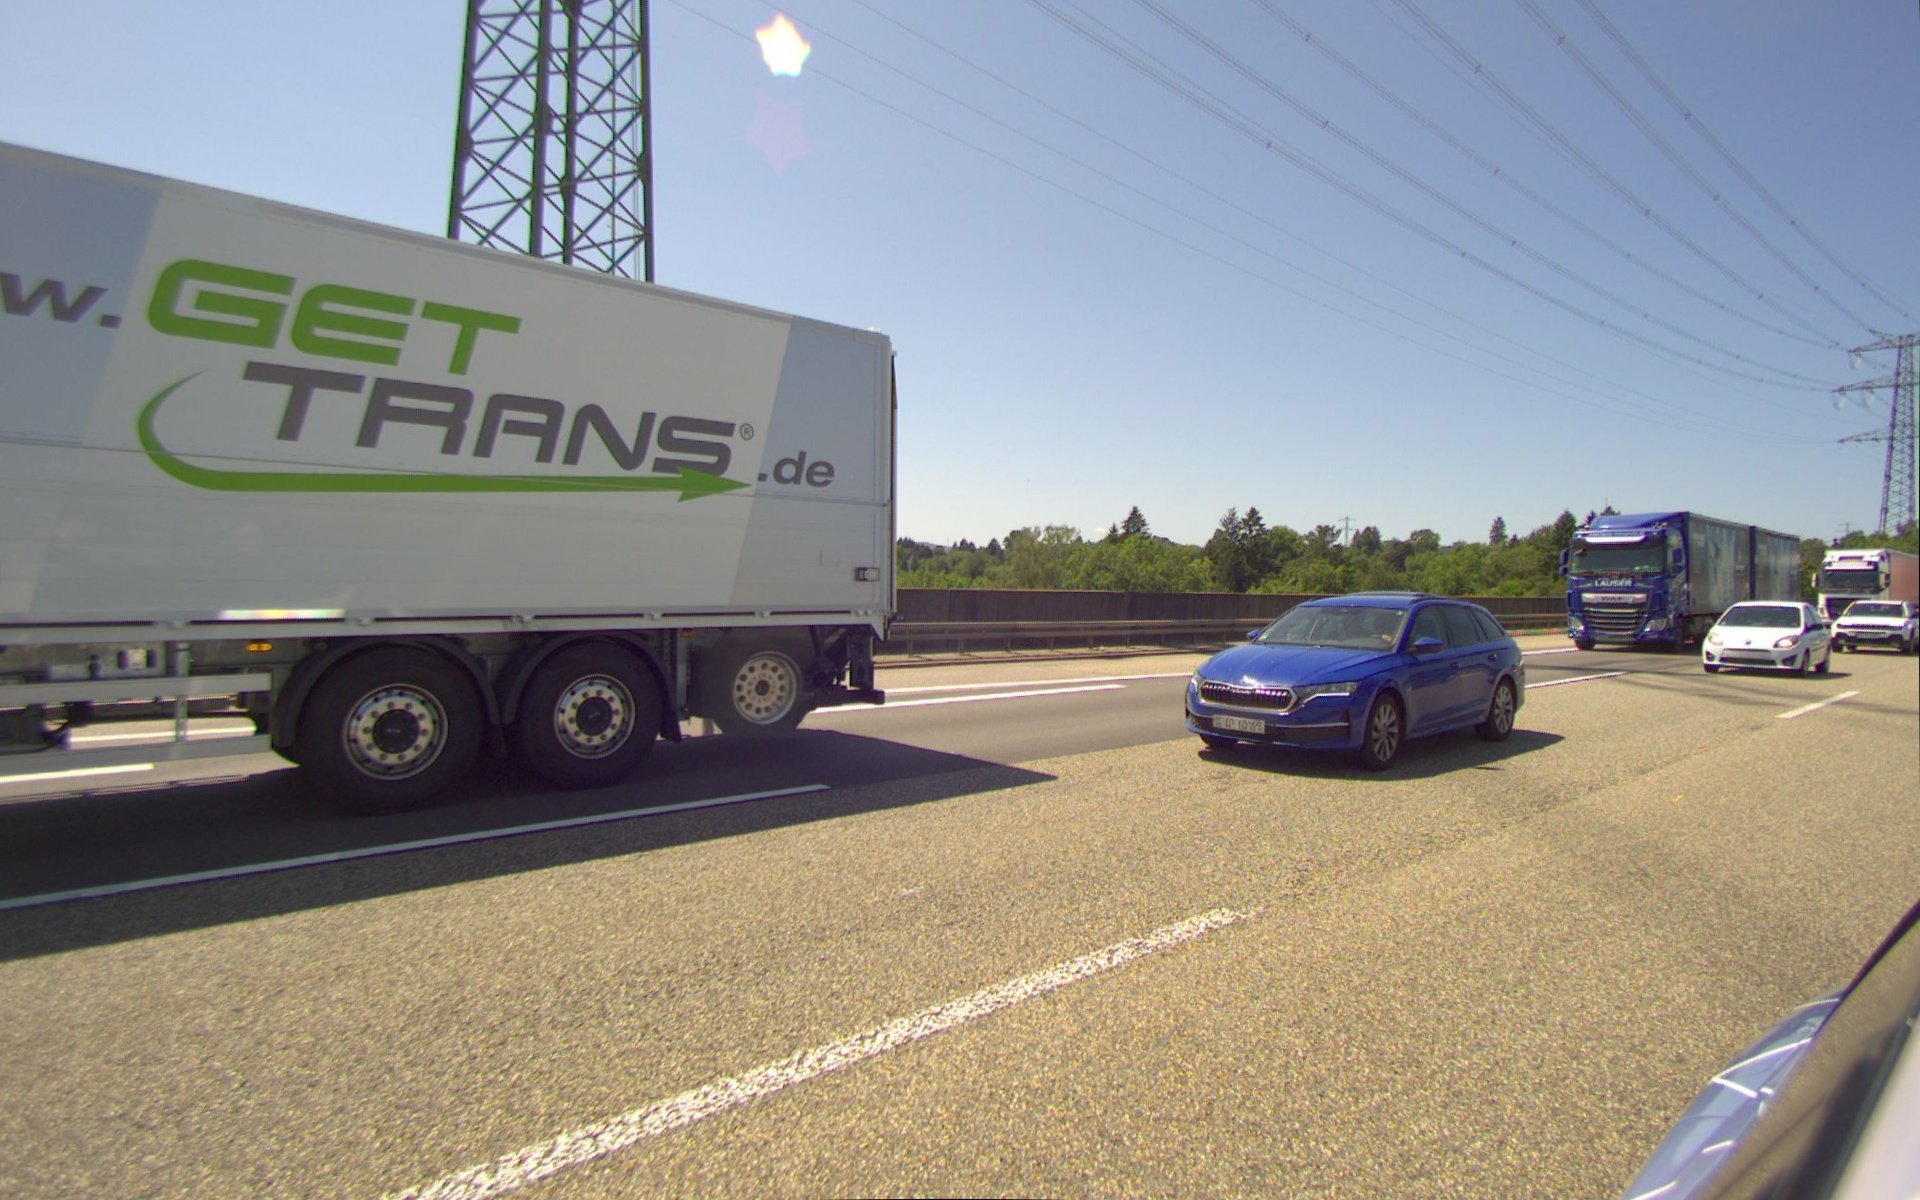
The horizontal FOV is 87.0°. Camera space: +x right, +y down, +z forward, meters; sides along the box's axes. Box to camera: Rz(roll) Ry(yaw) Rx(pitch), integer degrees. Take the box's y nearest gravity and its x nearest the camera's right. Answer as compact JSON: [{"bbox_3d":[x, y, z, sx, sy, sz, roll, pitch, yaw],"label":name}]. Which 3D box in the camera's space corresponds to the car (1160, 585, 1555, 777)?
[{"bbox_3d":[4.051,0.597,9.913,4.483,1.470,1.711,-1,1,-40],"label":"car"}]

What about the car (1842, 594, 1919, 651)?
[{"bbox_3d":[27.326,0.596,29.608,4.071,1.528,1.711,-1,1,-40],"label":"car"}]

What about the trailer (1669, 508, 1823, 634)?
[{"bbox_3d":[28.926,-1.005,37.076,8.486,4.140,2.833,-1,1,-41],"label":"trailer"}]

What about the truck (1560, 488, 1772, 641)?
[{"bbox_3d":[21.828,-0.995,30.950,10.211,3.999,2.857,-1,1,-40],"label":"truck"}]

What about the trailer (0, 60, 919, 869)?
[{"bbox_3d":[-4.322,-0.690,7.187,8.072,3.940,2.903,-1,1,-42],"label":"trailer"}]

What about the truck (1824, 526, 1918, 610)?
[{"bbox_3d":[47.259,-1.575,52.391,8.120,4.037,2.606,-1,1,-41],"label":"truck"}]

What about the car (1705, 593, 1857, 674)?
[{"bbox_3d":[16.829,0.605,20.693,4.071,1.470,1.711,-1,1,-40],"label":"car"}]

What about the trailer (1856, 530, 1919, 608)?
[{"bbox_3d":[53.769,-1.712,57.981,8.928,4.169,2.606,-1,1,-42],"label":"trailer"}]

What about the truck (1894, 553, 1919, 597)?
[{"bbox_3d":[69.395,-1.790,73.044,6.139,3.018,2.249,-1,5,-43],"label":"truck"}]

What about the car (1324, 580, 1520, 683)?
[{"bbox_3d":[8.502,0.486,18.481,4.045,1.675,1.711,-1,1,-40],"label":"car"}]
